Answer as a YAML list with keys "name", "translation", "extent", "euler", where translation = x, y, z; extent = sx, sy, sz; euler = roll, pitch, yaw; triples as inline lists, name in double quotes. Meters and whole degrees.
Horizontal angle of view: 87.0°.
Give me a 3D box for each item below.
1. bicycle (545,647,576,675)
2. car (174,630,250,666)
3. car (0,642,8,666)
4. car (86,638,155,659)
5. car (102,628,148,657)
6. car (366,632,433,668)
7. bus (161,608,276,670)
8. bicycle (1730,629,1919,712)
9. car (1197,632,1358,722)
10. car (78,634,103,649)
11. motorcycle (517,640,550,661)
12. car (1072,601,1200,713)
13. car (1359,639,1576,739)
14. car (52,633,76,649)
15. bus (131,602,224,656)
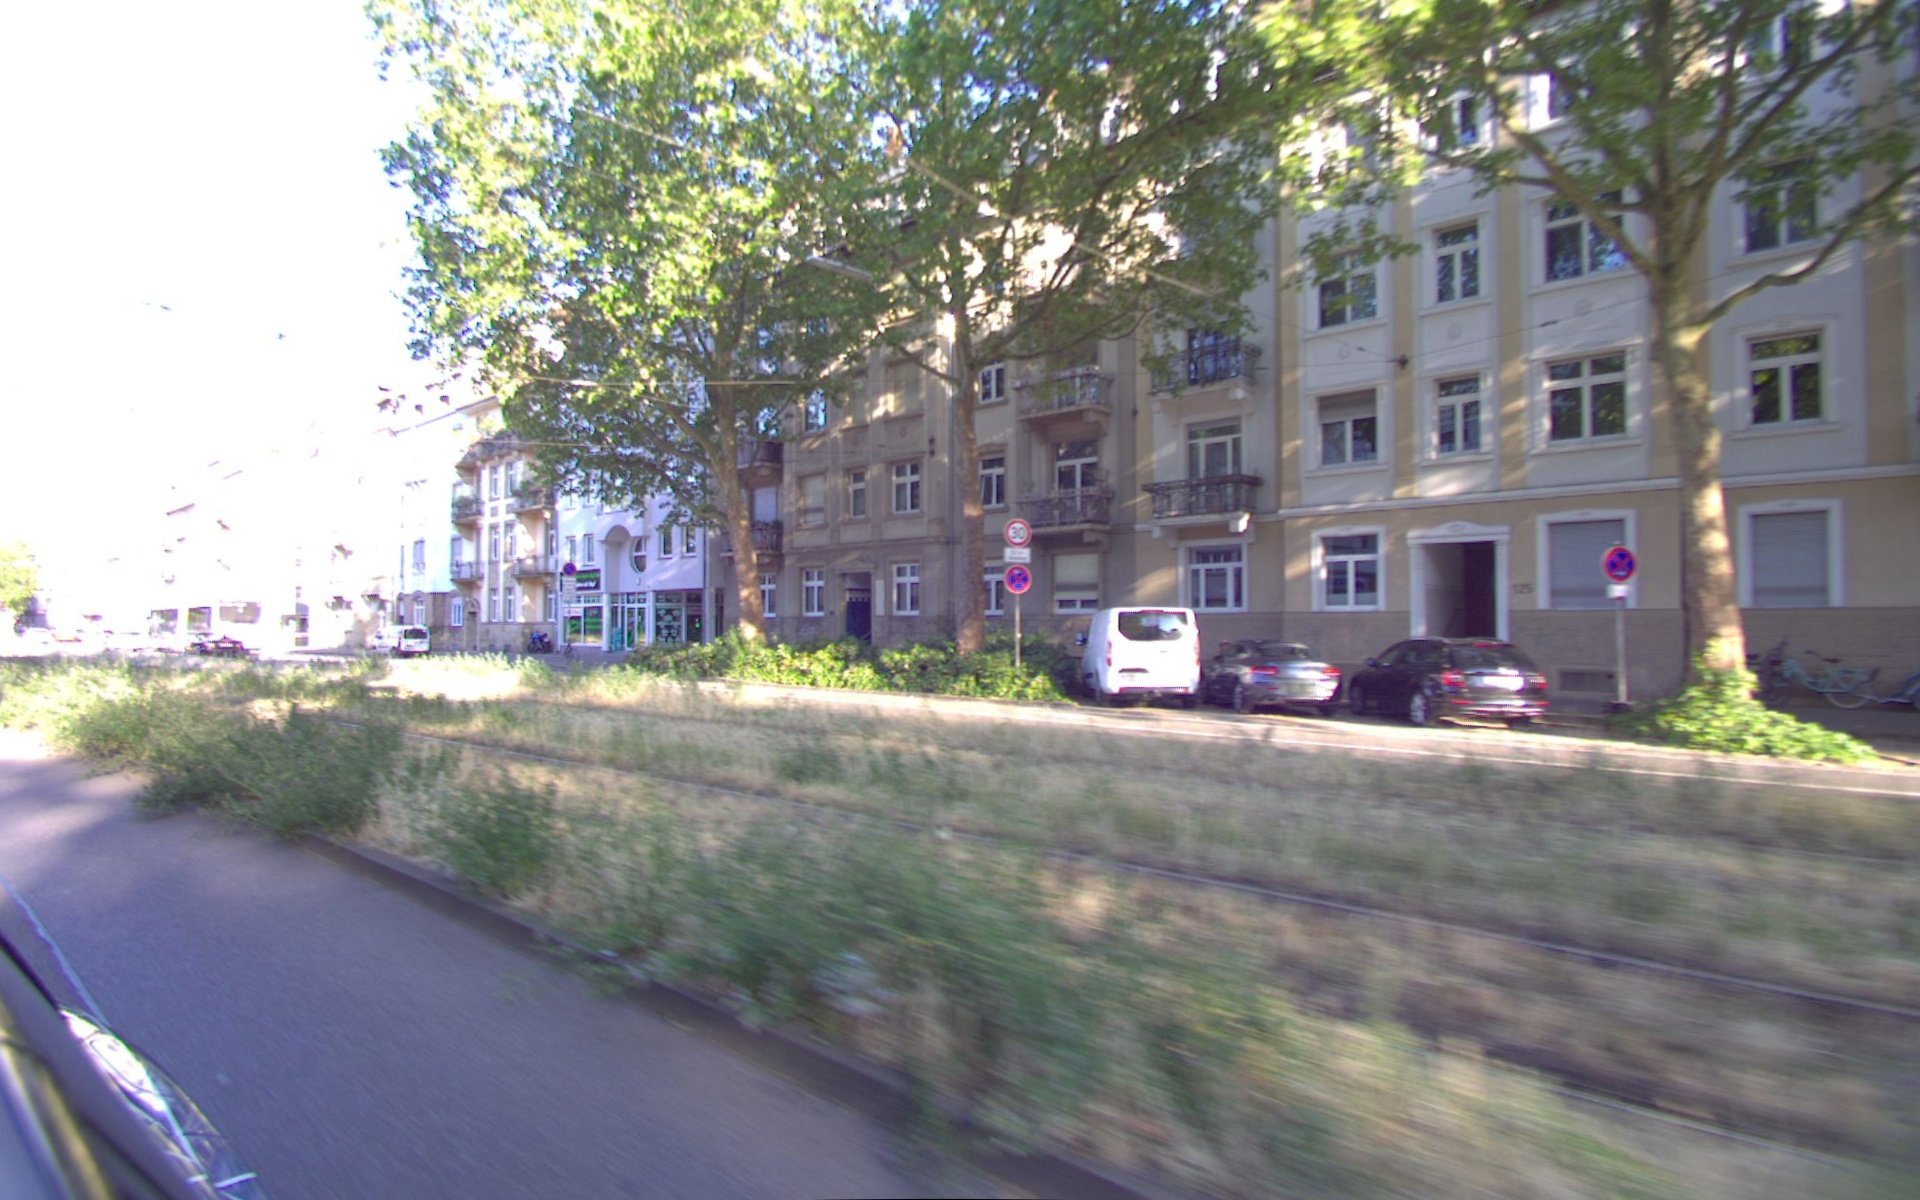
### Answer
- name: "bicycle"
  translation: [-17.065, 2.604, 43.207]
  extent: [0.747, 1.040, 1.900]
  euler: [-6, 3, -35]
- name: "car"
  translation: [-33.459, 2.130, 45.217]
  extent: [4.697, 1.497, 1.698]
  euler: [-2, -4, 41]
- name: "car"
  translation: [-72.309, 3.976, 73.862]
  extent: [1.836, 1.719, 3.944]
  euler: [-1, -1, 42]
- name: "car"
  translation: [-64.160, 3.689, 77.362]
  extent: [3.994, 1.537, 1.784]
  euler: [1, -1, -43]
- name: "car"
  translation: [-53.514, 2.696, 64.835]
  extent: [4.002, 1.697, 1.908]
  euler: [-1, -1, 45]
- name: "car"
  translation: [-30.530, 2.664, 55.059]
  extent: [4.654, 1.800, 1.883]
  euler: [-1, -1, 43]
- name: "bus"
  translation: [-44.863, 2.229, 60.989]
  extent: [11.975, 3.400, 3.220]
  euler: [-1, -1, 42]
- name: "bicycle"
  translation: [15.728, 1.235, 18.168]
  extent: [2.960, 1.402, 0.733]
  euler: [-2, -2, 42]
- name: "car"
  translation: [5.917, 1.389, 19.406]
  extent: [1.697, 1.502, 4.177]
  euler: [0, -1, -1]
- name: "car"
  translation: [-90.617, 4.291, 105.493]
  extent: [1.709, 1.491, 3.822]
  euler: [1, -2, -37]
- name: "motorcycle"
  translation: [-22.050, 2.579, 52.326]
  extent: [2.418, 1.029, 0.522]
  euler: [-2, 0, 41]
- name: "car"
  translation: [3.583, 1.127, 21.533]
  extent: [1.697, 2.082, 5.247]
  euler: [0, -1, -1]
- name: "car"
  translation: [8.342, 1.405, 17.030]
  extent: [1.697, 1.433, 3.728]
  euler: [0, -1, -1]
- name: "car"
  translation: [-113.381, 5.200, 128.067]
  extent: [4.310, 1.914, 1.894]
  euler: [-1, -1, 43]
- name: "bus"
  translation: [-53.014, 1.879, 68.436]
  extent: [9.896, 3.400, 3.231]
  euler: [-1, -1, 42]
